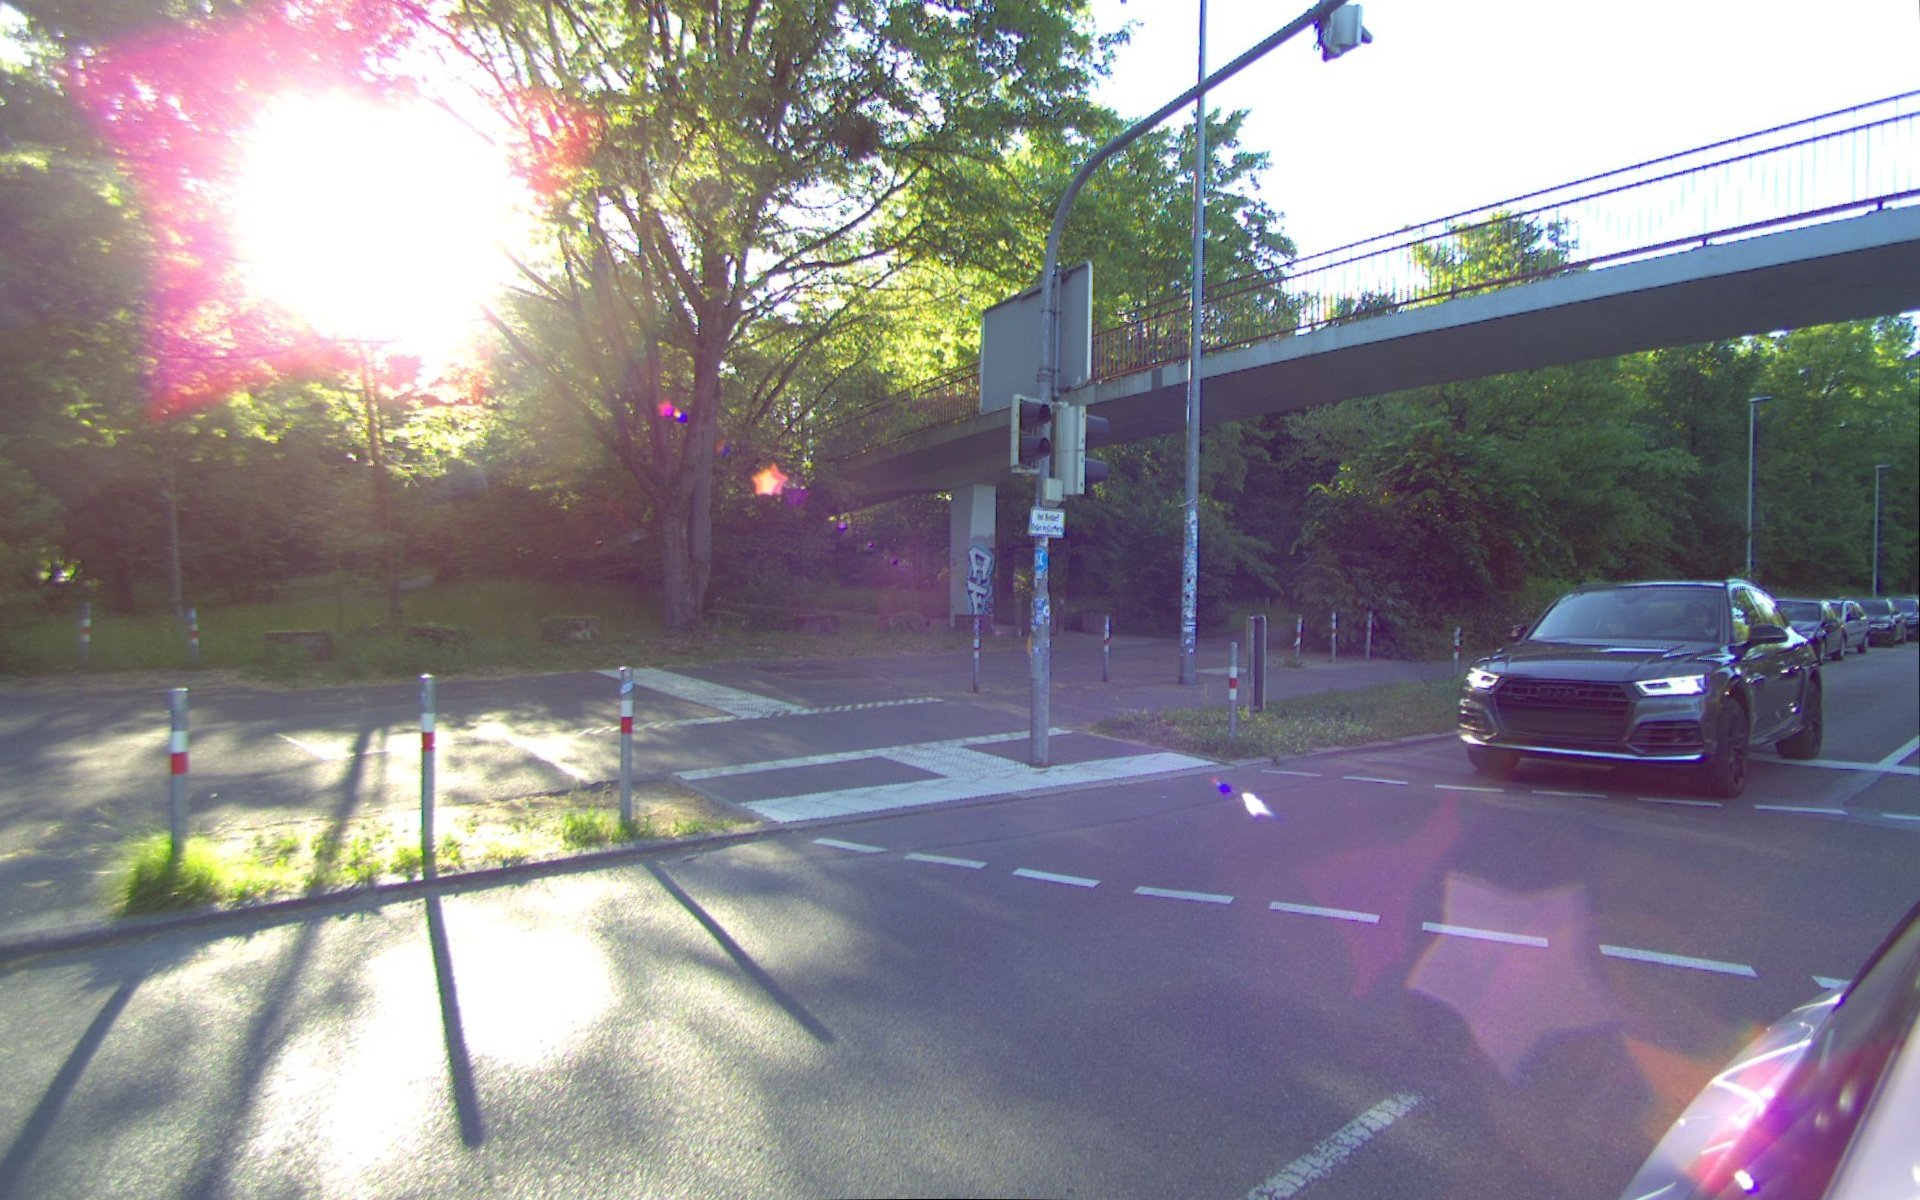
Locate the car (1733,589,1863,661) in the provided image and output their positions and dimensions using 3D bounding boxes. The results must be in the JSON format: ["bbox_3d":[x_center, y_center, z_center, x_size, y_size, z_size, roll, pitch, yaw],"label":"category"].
[{"bbox_3d":[19.700,0.511,23.729,4.054,1.527,1.693,-1,1,-41],"label":"car"}]

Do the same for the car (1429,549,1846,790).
[{"bbox_3d":[6.158,0.457,9.007,4.286,1.627,1.991,-1,0,-41],"label":"car"}]

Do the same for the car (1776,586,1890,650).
[{"bbox_3d":[23.318,0.421,26.981,3.906,1.526,1.720,-1,2,-41],"label":"car"}]

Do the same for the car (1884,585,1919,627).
[{"bbox_3d":[37.012,0.209,38.863,4.152,1.526,1.736,-1,2,-41],"label":"car"}]

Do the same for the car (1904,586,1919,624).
[{"bbox_3d":[40.691,0.186,42.010,4.319,1.526,1.736,-1,2,-41],"label":"car"}]

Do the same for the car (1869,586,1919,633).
[{"bbox_3d":[32.808,0.287,34.862,4.064,1.526,1.703,-1,2,-41],"label":"car"}]

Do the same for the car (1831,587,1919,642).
[{"bbox_3d":[28.541,0.396,31.373,4.080,1.526,1.736,-1,2,-41],"label":"car"}]
